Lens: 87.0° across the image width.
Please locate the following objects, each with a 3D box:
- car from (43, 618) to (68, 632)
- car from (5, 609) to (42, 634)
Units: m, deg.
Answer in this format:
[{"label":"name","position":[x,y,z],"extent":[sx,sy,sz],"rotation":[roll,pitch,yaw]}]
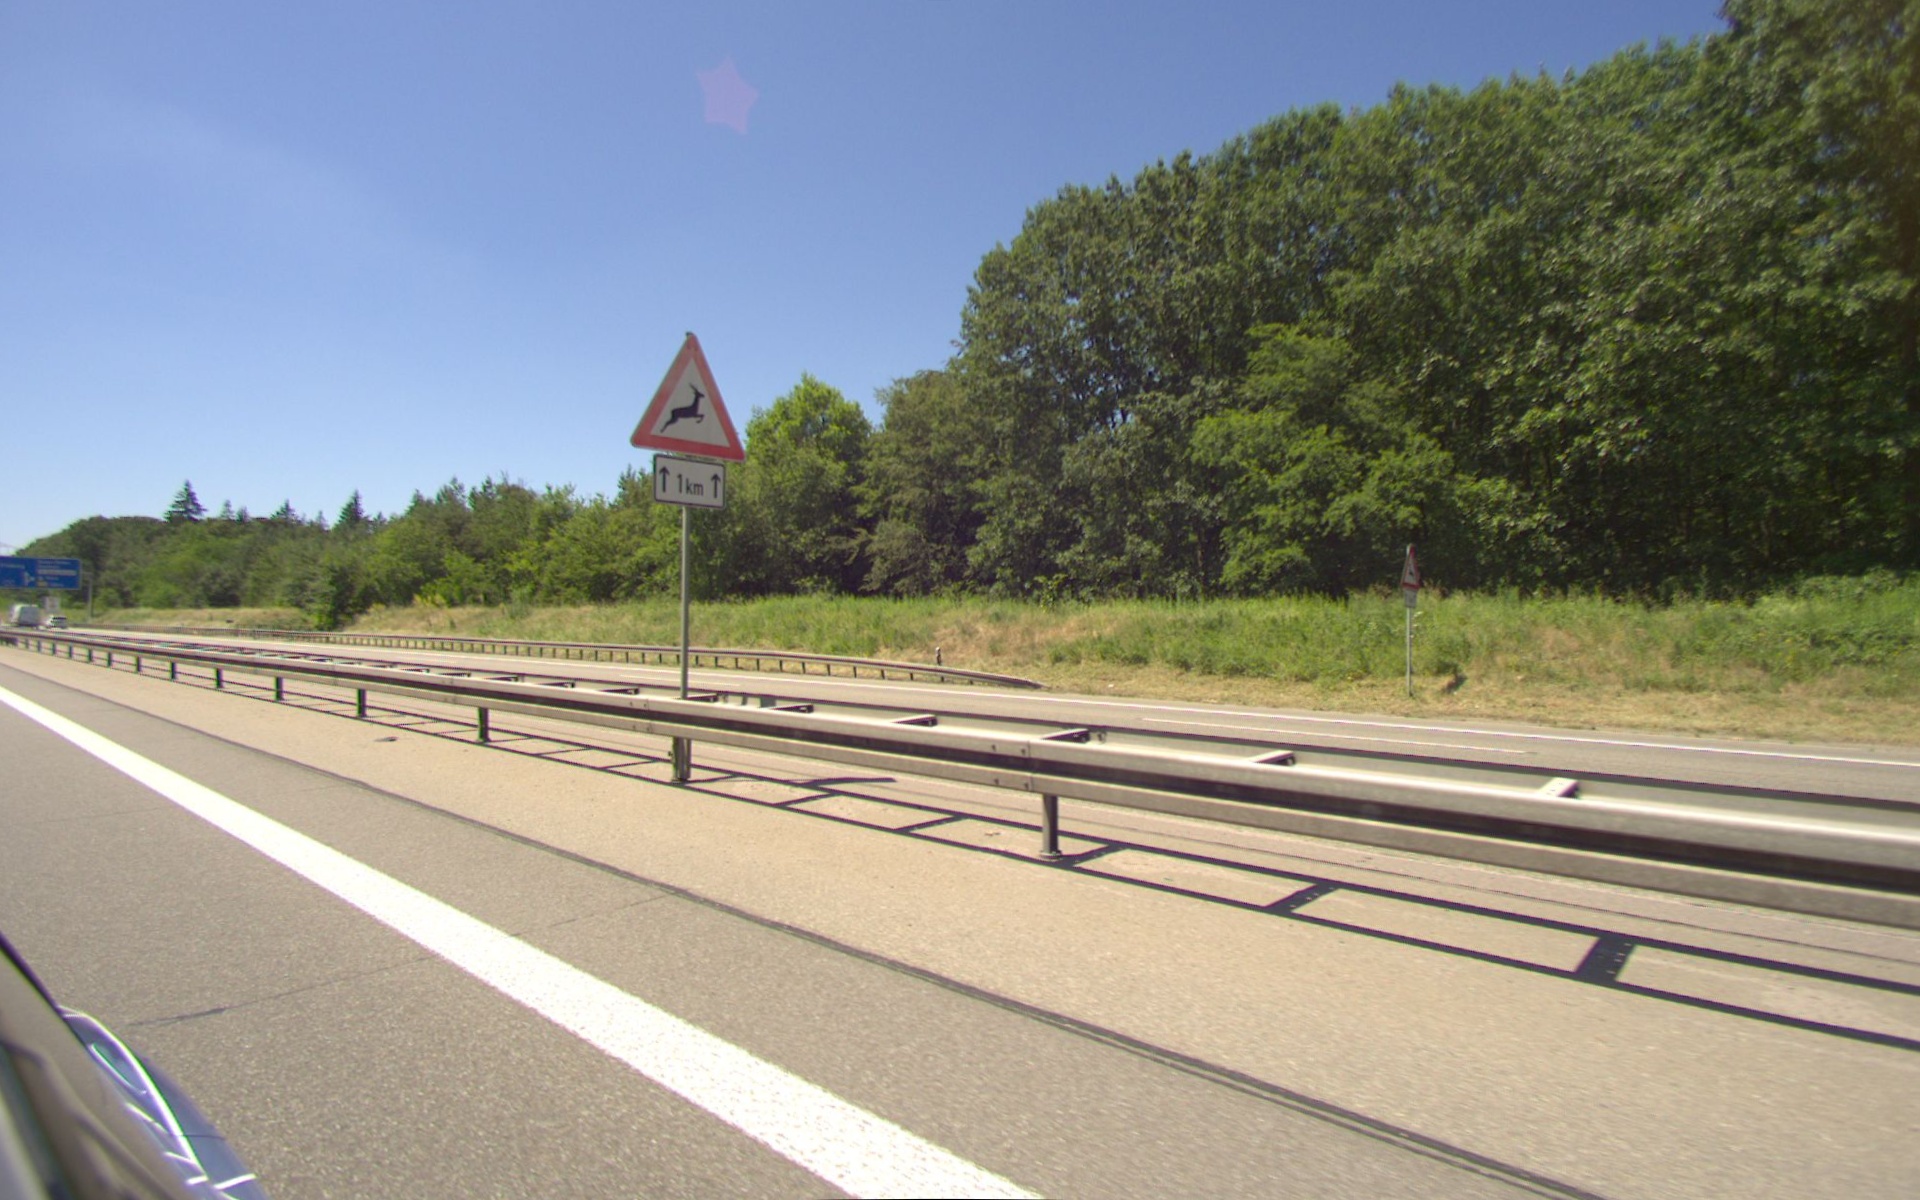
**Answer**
[{"label":"car","position":[-111.910,3.074,125.179],"extent":[5.115,1.674,1.684],"rotation":[-1,-4,42]},{"label":"car","position":[-103.929,2.385,112.267],"extent":[7.541,2.645,2.142],"rotation":[-1,-4,42]}]
